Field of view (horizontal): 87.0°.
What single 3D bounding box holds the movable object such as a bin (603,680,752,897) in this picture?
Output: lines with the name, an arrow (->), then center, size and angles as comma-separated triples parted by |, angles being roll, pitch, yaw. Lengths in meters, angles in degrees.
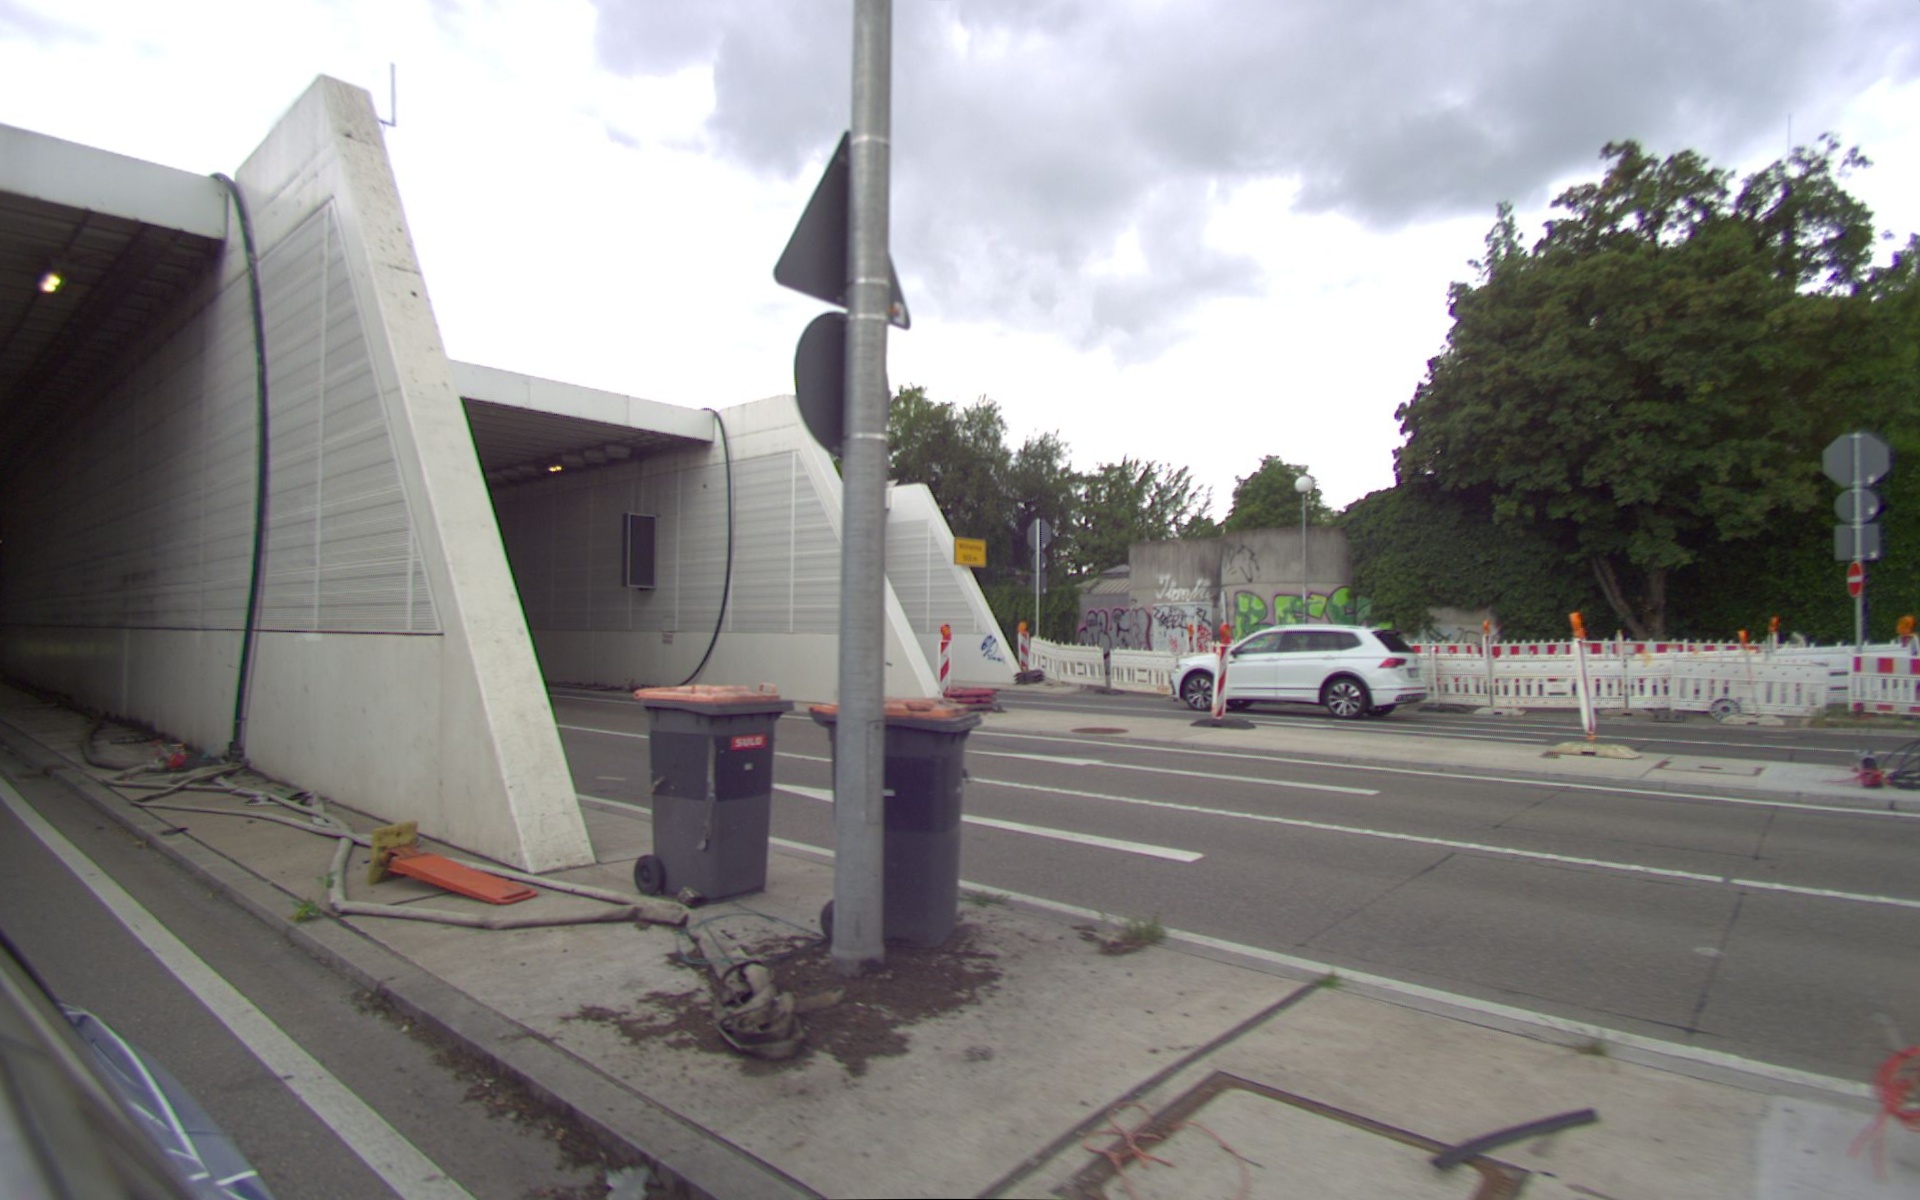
movable object such as a bin -> -1.495, 0.956, 5.365 | 0.546, 1.016, 0.547 | -1, -1, 38

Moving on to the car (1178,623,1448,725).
car -> 6.436, 1.276, 18.794 | 4.375, 1.674, 1.827 | -1, -2, 43

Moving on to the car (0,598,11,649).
car -> -52.691, 1.193, 52.793 | 2.517, 2.789, 7.374 | 2, -2, -26

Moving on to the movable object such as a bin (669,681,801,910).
movable object such as a bin -> -1.116, 0.936, 5.040 | 0.423, 1.024, 0.484 | -1, -1, 36
